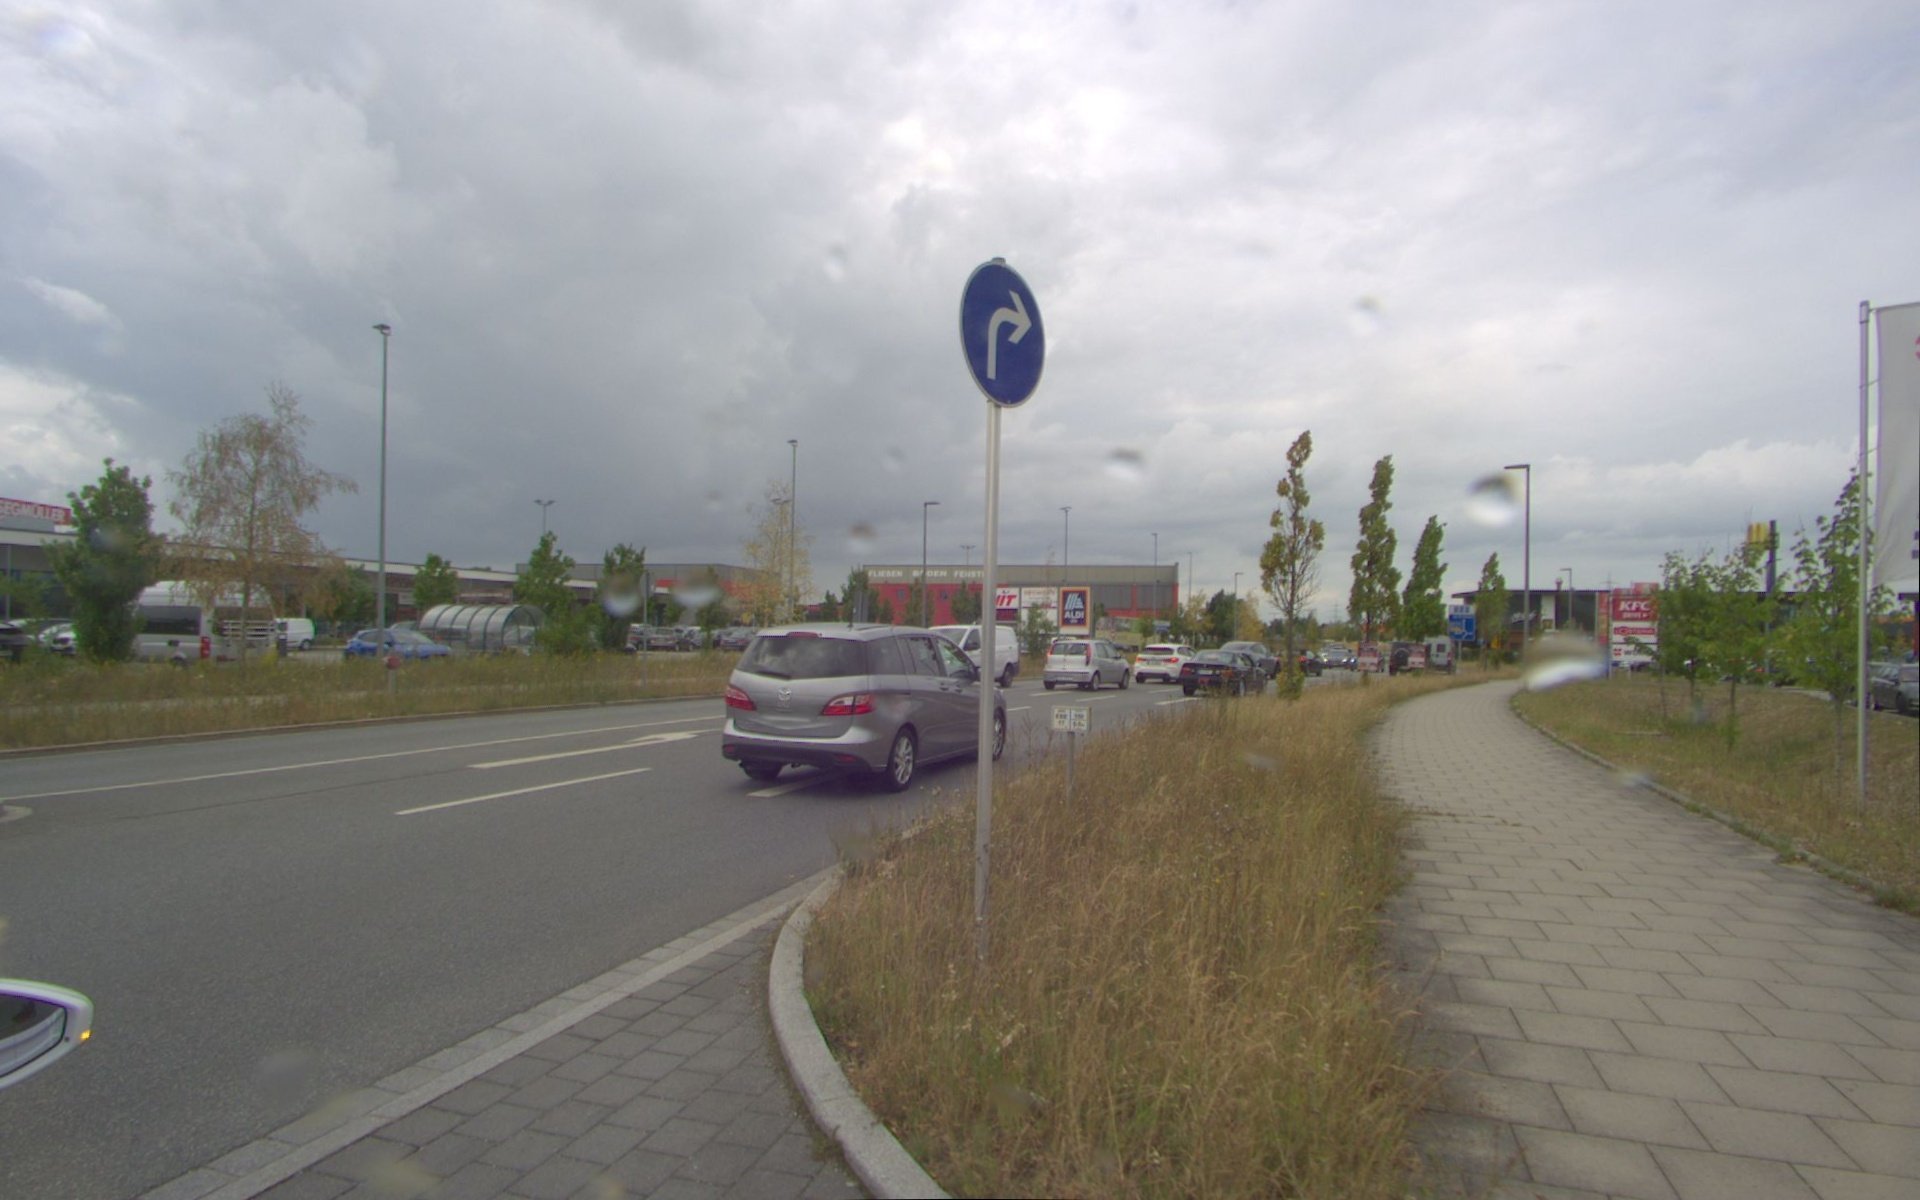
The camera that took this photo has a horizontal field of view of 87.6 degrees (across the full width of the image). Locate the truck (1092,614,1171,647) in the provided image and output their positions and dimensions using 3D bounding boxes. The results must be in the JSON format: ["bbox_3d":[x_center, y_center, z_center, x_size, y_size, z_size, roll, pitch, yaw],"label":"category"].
[{"bbox_3d":[16.268,2.924,94.481,8.091,2.983,2.658,2,-1,-39],"label":"truck"}]

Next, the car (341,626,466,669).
[{"bbox_3d":[-19.116,1.603,34.398,4.084,1.402,1.804,-1,-2,27],"label":"car"}]

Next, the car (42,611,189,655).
[{"bbox_3d":[-33.417,1.286,39.752,1.966,1.639,3.991,0,-1,22],"label":"car"}]

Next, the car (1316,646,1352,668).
[{"bbox_3d":[27.886,4.222,74.561,1.880,1.588,4.318,0,-2,29],"label":"car"}]

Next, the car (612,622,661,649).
[{"bbox_3d":[-21.787,2.373,67.575,1.729,1.675,3.837,1,-1,5],"label":"car"}]

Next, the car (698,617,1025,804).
[{"bbox_3d":[-0.819,1.037,11.143,1.789,1.583,4.392,2,-1,21],"label":"car"}]

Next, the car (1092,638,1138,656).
[{"bbox_3d":[13.325,4.010,86.151,3.772,1.446,1.741,1,-1,15],"label":"car"}]

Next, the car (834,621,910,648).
[{"bbox_3d":[-4.911,1.890,55.663,3.753,1.408,1.908,0,-1,27],"label":"car"}]

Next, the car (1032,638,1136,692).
[{"bbox_3d":[3.791,1.894,30.069,1.774,1.480,3.800,0,-1,30],"label":"car"}]

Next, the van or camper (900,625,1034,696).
[{"bbox_3d":[0.339,1.763,30.490,1.968,1.936,5.186,0,-1,27],"label":"van or camper"}]

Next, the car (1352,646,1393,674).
[{"bbox_3d":[26.550,3.826,64.383,1.880,1.588,4.317,0,-1,29],"label":"car"}]

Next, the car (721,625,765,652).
[{"bbox_3d":[-14.237,2.494,65.934,1.729,1.675,3.837,1,-1,5],"label":"car"}]

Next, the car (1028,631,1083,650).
[{"bbox_3d":[7.697,3.243,80.678,3.937,1.460,1.994,-1,-2,27],"label":"car"}]

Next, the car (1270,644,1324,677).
[{"bbox_3d":[17.194,3.033,50.952,1.879,1.588,4.320,0,-2,28],"label":"car"}]

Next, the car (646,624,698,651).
[{"bbox_3d":[-19.274,2.488,67.254,1.961,1.756,4.000,1,-1,6],"label":"car"}]

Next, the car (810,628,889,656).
[{"bbox_3d":[-5.934,2.225,53.688,3.753,1.408,1.908,0,-1,27],"label":"car"}]

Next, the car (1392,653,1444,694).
[{"bbox_3d":[20.197,3.193,44.063,1.661,1.697,3.489,-1,-2,32],"label":"car"}]

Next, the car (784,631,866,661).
[{"bbox_3d":[-6.969,2.329,51.609,3.753,1.408,1.908,0,-1,27],"label":"car"}]

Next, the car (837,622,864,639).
[{"bbox_3d":[-11.383,3.123,104.003,1.729,1.675,3.835,1,-1,10],"label":"car"}]

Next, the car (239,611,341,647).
[{"bbox_3d":[-35.940,1.573,53.886,1.962,1.842,4.428,0,-2,12],"label":"car"}]

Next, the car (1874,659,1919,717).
[{"bbox_3d":[27.632,2.470,28.414,1.691,1.518,3.983,-1,-2,30],"label":"car"}]

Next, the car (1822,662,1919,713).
[{"bbox_3d":[30.582,2.884,33.663,1.691,1.518,3.983,-1,-2,30],"label":"car"}]

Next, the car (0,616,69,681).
[{"bbox_3d":[-23.609,1.134,23.816,4.079,1.469,1.991,0,-2,22],"label":"car"}]

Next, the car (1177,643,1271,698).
[{"bbox_3d":[7.754,1.986,29.163,1.731,1.404,4.286,0,-1,28],"label":"car"}]

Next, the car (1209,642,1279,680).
[{"bbox_3d":[12.565,2.630,44.034,1.784,1.527,4.862,0,-1,31],"label":"car"}]

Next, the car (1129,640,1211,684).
[{"bbox_3d":[7.810,2.232,36.916,1.774,1.469,4.231,0,-1,30],"label":"car"}]

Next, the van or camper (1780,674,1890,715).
[{"bbox_3d":[44.464,4.784,50.984,3.942,1.817,1.813,0,-1,32],"label":"van or camper"}]

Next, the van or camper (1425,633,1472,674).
[{"bbox_3d":[32.681,3.567,66.876,2.164,2.573,6.138,0,-2,32],"label":"van or camper"}]

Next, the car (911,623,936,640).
[{"bbox_3d":[-3.737,3.216,102.348,1.729,1.675,3.835,1,-1,10],"label":"car"}]

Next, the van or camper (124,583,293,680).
[{"bbox_3d":[-20.896,0.878,27.862,3.937,2.524,2.282,-1,-2,28],"label":"van or camper"}]

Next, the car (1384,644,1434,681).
[{"bbox_3d":[25.434,3.488,56.638,1.971,1.948,4.827,0,-2,31],"label":"car"}]
